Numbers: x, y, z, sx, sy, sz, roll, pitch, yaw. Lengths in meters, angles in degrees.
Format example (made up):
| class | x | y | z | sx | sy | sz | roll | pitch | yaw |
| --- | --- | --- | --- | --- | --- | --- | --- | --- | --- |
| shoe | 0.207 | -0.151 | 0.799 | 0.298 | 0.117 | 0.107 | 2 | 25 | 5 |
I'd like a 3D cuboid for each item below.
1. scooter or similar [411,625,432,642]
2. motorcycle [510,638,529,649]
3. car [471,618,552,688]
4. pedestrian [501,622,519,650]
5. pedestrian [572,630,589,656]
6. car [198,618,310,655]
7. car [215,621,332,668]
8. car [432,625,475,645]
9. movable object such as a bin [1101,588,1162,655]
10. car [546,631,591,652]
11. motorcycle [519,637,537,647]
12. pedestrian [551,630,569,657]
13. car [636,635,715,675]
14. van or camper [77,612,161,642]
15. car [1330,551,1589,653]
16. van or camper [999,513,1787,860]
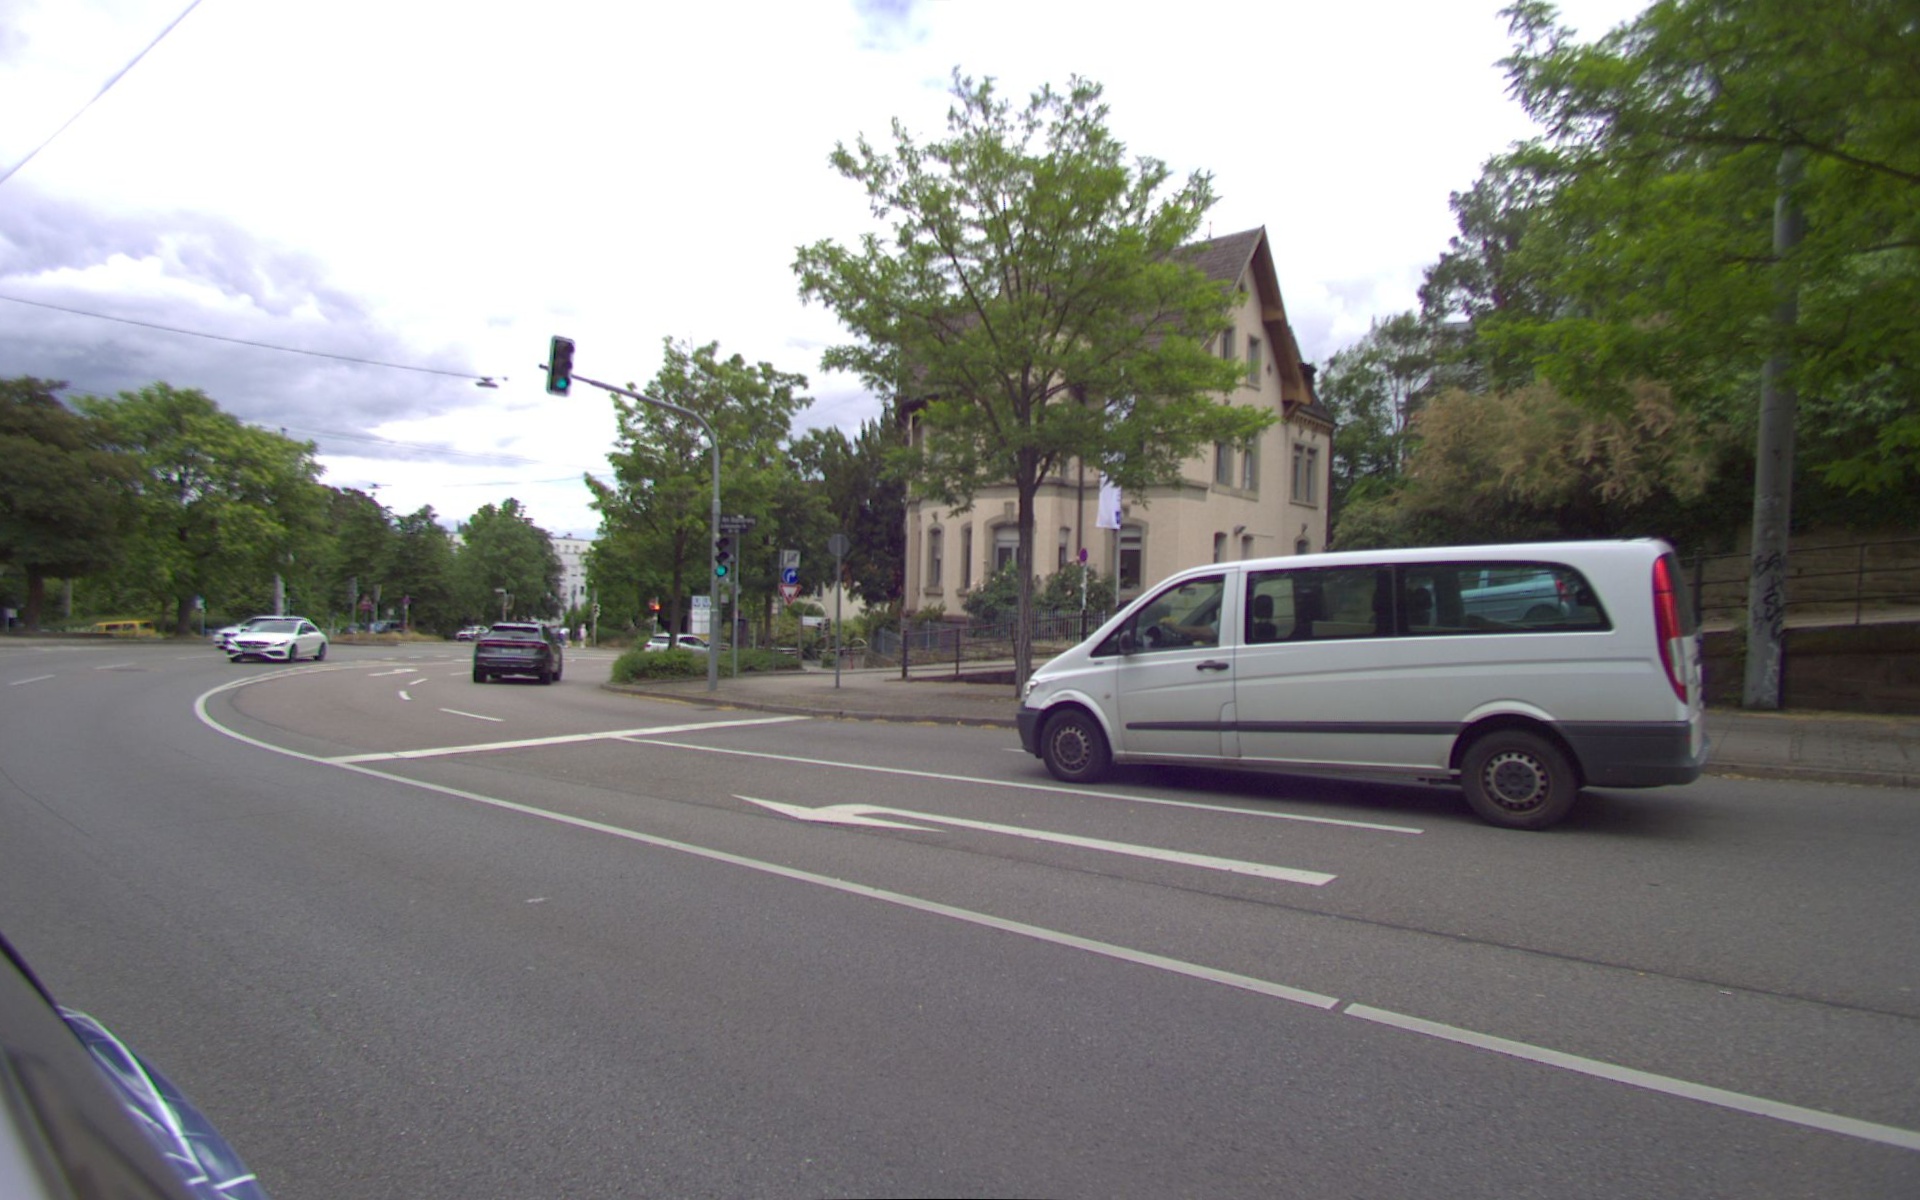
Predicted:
| class | x | y | z | sx | sy | sz | roll | pitch | yaw |
| --- | --- | --- | --- | --- | --- | --- | --- | --- | --- |
| scooter or similar | -40.940 | 2.576 | 76.975 | 1.299 | 1.257 | 0.465 | 4 | -4 | -39 |
| motorcycle | -45.236 | 4.450 | 103.892 | 0.747 | 1.041 | 2.049 | 2 | -3 | 9 |
| car | -12.780 | 1.490 | 28.905 | 1.869 | 1.805 | 4.774 | 3 | -3 | -23 |
| pedestrian | -31.168 | 2.474 | 70.082 | 0.844 | 1.901 | 0.966 | 4 | -4 | -42 |
| pedestrian | -26.005 | 2.966 | 69.382 | 0.615 | 1.725 | 0.719 | 4 | -2 | 33 |
| car | -29.698 | 1.540 | 42.721 | 1.872 | 1.475 | 3.997 | 0 | -2 | 2 |
| car | -23.071 | 1.484 | 34.204 | 1.966 | 1.409 | 4.242 | 3 | -2 | -15 |
| car | -52.339 | 3.662 | 104.722 | 1.973 | 1.918 | 4.712 | 1 | -3 | 1 |
| movable object such as a bin | 4.667 | 0.578 | 27.552 | 1.199 | 1.696 | 0.999 | -5 | 1 | -34 |
| car | -40.798 | 4.312 | 105.532 | 3.740 | 2.029 | 1.997 | 2 | -3 | 5 |
| motorcycle | -44.213 | 4.310 | 103.631 | 0.747 | 1.041 | 2.049 | 2 | -3 | 9 |
| pedestrian | -26.816 | 2.915 | 67.866 | 0.615 | 1.725 | 0.719 | 4 | -2 | 33 |
| car | -13.018 | 2.524 | 46.598 | 1.880 | 1.667 | 4.363 | 1 | -3 | 9 |
| van or camper | -61.404 | 1.937 | 73.974 | 4.405 | 1.992 | 1.891 | 2 | -1 | -3 |
| car | 9.630 | 0.073 | 19.700 | 4.001 | 1.586 | 1.971 | -7 | -3 | 45 |
| van or camper | 3.075 | 0.536 | 8.107 | 5.452 | 1.910 | 1.973 | -2 | -1 | 40 |
